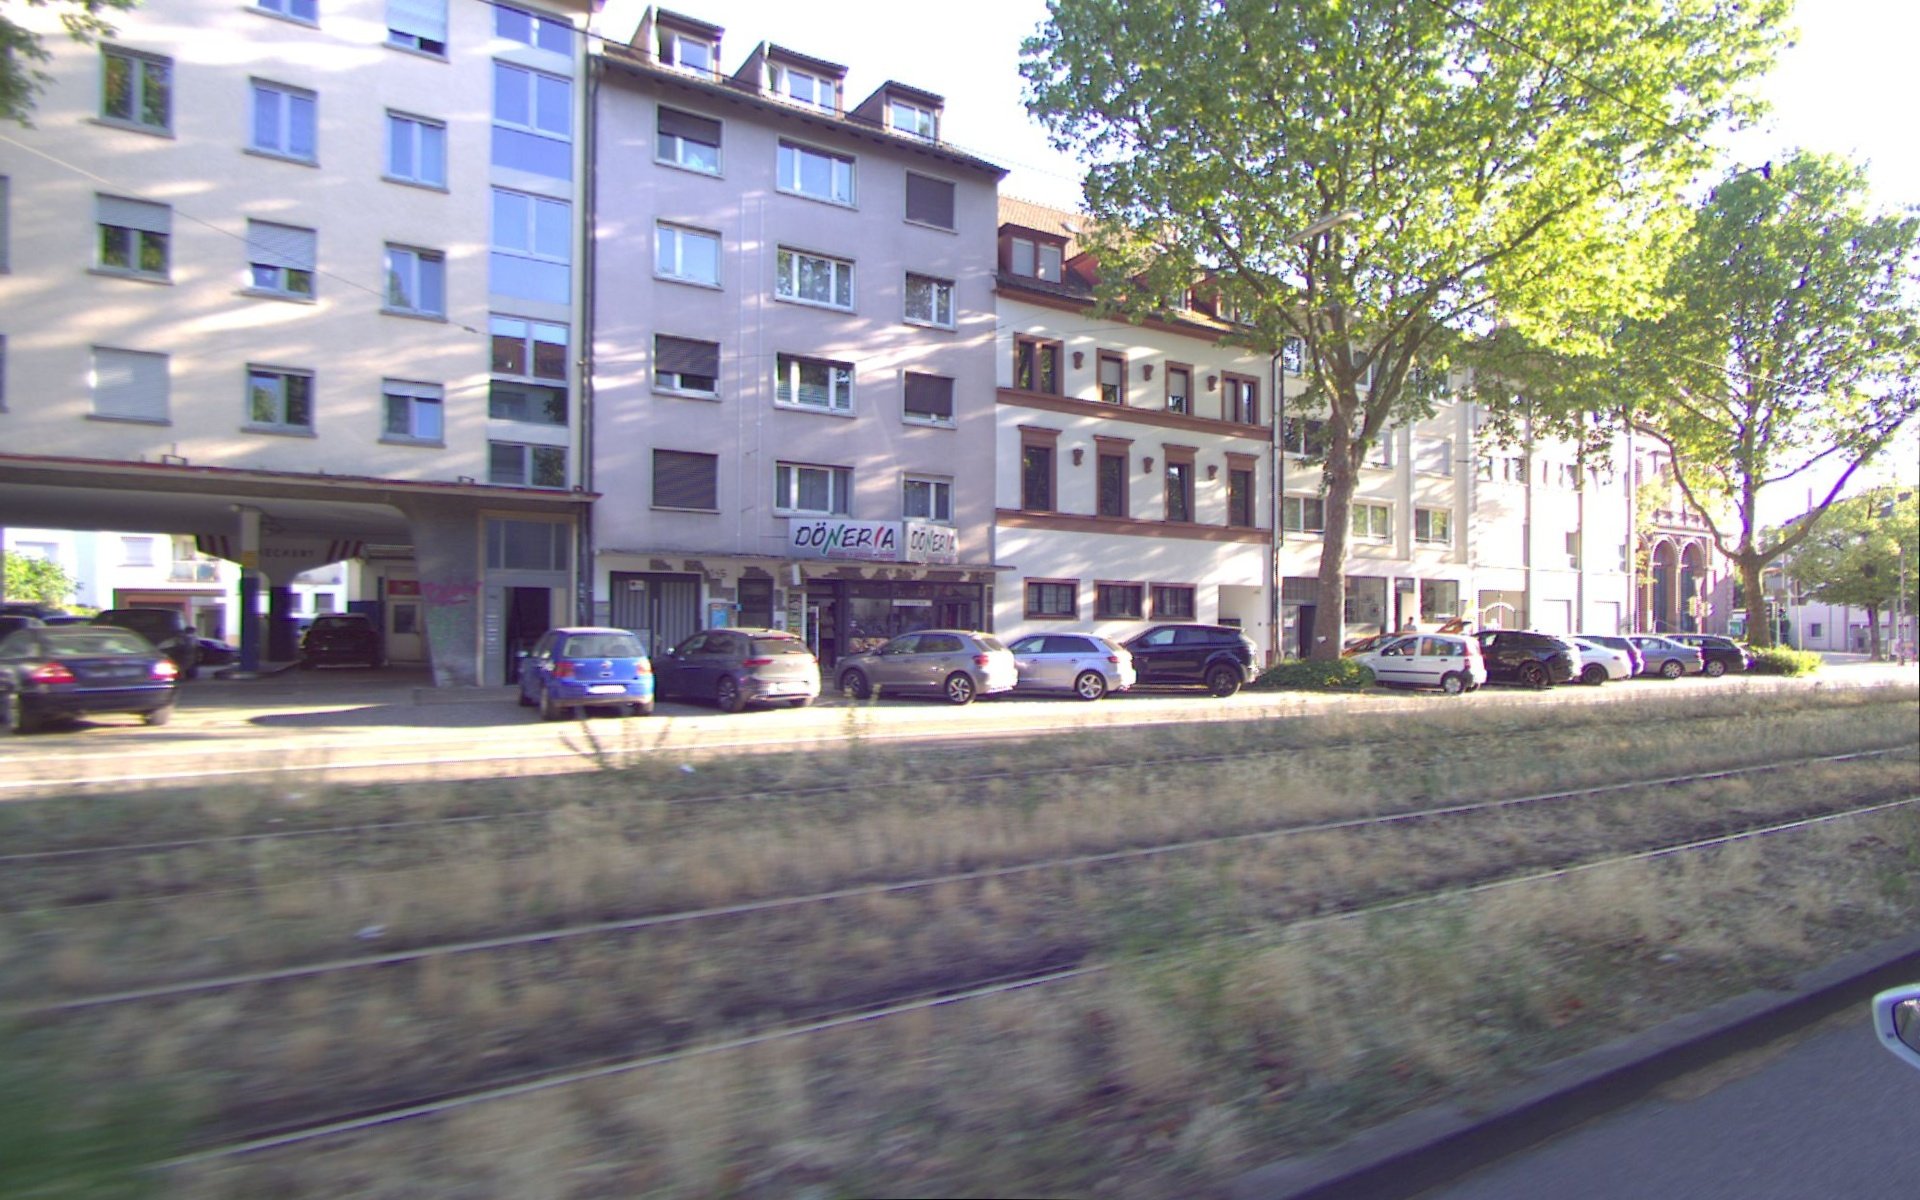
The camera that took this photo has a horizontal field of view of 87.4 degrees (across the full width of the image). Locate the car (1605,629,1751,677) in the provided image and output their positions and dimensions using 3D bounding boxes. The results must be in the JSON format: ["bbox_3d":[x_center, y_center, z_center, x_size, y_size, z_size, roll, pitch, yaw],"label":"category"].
[{"bbox_3d":[26.133,1.913,36.694,3.920,1.499,1.818,2,0,18],"label":"car"}]

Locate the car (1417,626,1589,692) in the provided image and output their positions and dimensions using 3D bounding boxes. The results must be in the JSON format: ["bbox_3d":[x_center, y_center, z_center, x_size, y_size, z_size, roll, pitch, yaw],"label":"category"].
[{"bbox_3d":[16.126,1.766,29.912,4.292,1.809,1.988,-3,-4,35],"label":"car"}]

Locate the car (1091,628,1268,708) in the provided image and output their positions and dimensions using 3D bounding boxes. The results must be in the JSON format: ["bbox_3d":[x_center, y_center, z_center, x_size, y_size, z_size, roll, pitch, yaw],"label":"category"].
[{"bbox_3d":[5.280,1.573,24.054,3.921,1.683,2.000,0,0,20],"label":"car"}]

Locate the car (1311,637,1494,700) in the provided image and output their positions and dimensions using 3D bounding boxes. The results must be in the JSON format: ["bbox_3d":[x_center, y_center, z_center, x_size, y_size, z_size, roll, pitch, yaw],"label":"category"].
[{"bbox_3d":[11.922,1.788,27.178,4.291,1.468,1.654,1,-1,34],"label":"car"}]

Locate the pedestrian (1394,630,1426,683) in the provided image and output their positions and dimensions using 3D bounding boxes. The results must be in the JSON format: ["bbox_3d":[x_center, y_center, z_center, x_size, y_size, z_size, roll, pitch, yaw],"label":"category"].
[{"bbox_3d":[16.930,2.116,37.783,0.888,1.925,0.947,0,0,38],"label":"pedestrian"}]

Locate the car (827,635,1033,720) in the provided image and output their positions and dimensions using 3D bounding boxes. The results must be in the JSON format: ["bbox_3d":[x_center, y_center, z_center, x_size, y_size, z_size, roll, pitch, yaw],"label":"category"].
[{"bbox_3d":[-0.641,1.556,21.041,3.926,1.442,1.754,2,1,27],"label":"car"}]

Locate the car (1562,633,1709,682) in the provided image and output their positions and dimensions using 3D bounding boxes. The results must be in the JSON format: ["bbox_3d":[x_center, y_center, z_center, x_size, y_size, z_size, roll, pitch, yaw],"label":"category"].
[{"bbox_3d":[23.494,1.970,35.101,3.921,1.460,1.722,2,1,20],"label":"car"}]

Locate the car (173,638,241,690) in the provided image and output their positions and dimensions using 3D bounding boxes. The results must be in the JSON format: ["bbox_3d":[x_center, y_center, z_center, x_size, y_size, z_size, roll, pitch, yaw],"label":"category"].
[{"bbox_3d":[-24.600,2.052,32.897,1.681,1.576,3.275,1,-2,-36],"label":"car"}]

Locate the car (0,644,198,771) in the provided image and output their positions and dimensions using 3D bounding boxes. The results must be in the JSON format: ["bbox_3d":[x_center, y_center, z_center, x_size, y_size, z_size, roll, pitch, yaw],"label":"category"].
[{"bbox_3d":[-12.881,1.438,14.626,3.939,1.510,1.991,-1,-2,39],"label":"car"}]

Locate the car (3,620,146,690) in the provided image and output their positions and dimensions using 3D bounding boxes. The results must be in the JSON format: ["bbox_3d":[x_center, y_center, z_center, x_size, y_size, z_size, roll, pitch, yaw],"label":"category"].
[{"bbox_3d":[-22.899,1.400,26.163,1.976,1.669,3.969,1,-2,-30],"label":"car"}]

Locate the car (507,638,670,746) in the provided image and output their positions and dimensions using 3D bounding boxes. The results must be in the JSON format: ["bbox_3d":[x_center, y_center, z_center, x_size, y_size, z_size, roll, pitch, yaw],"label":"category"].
[{"bbox_3d":[-6.558,1.491,17.483,1.838,1.439,3.963,1,0,-33],"label":"car"}]

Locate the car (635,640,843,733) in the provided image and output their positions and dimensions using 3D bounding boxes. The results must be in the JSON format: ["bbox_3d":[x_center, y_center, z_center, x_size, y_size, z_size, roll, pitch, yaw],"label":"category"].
[{"bbox_3d":[-4.251,1.545,19.023,3.943,1.512,1.940,-1,-2,42],"label":"car"}]

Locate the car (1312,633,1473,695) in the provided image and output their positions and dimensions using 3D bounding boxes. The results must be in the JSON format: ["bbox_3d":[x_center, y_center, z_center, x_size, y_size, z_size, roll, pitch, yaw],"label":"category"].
[{"bbox_3d":[12.543,1.804,29.227,3.940,1.499,1.769,2,1,41],"label":"car"}]

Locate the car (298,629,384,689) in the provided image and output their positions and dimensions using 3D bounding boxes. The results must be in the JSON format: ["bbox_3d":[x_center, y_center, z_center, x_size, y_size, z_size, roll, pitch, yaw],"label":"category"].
[{"bbox_3d":[-17.787,1.649,29.005,1.977,1.576,3.968,1,-2,-30],"label":"car"}]

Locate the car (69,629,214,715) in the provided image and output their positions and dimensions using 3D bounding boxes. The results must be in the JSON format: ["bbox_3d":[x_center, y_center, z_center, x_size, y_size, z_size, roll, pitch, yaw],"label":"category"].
[{"bbox_3d":[-18.224,1.531,22.549,1.884,1.742,3.968,1,-2,-30],"label":"car"}]

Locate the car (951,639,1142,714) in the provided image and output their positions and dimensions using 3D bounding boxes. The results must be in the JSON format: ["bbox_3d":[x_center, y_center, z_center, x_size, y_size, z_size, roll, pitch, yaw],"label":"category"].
[{"bbox_3d":[1.964,1.647,22.392,3.920,1.404,1.913,1,0,16],"label":"car"}]

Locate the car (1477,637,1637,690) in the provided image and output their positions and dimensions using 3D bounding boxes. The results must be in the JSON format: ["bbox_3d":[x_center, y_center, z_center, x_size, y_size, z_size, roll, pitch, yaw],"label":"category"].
[{"bbox_3d":[18.729,1.956,31.730,4.126,1.351,1.721,2,1,25],"label":"car"}]

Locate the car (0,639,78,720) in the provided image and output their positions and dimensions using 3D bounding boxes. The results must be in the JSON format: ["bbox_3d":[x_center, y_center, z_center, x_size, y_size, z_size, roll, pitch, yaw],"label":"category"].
[{"bbox_3d":[-20.193,1.592,20.933,1.977,1.562,3.967,1,-2,-31],"label":"car"}]
